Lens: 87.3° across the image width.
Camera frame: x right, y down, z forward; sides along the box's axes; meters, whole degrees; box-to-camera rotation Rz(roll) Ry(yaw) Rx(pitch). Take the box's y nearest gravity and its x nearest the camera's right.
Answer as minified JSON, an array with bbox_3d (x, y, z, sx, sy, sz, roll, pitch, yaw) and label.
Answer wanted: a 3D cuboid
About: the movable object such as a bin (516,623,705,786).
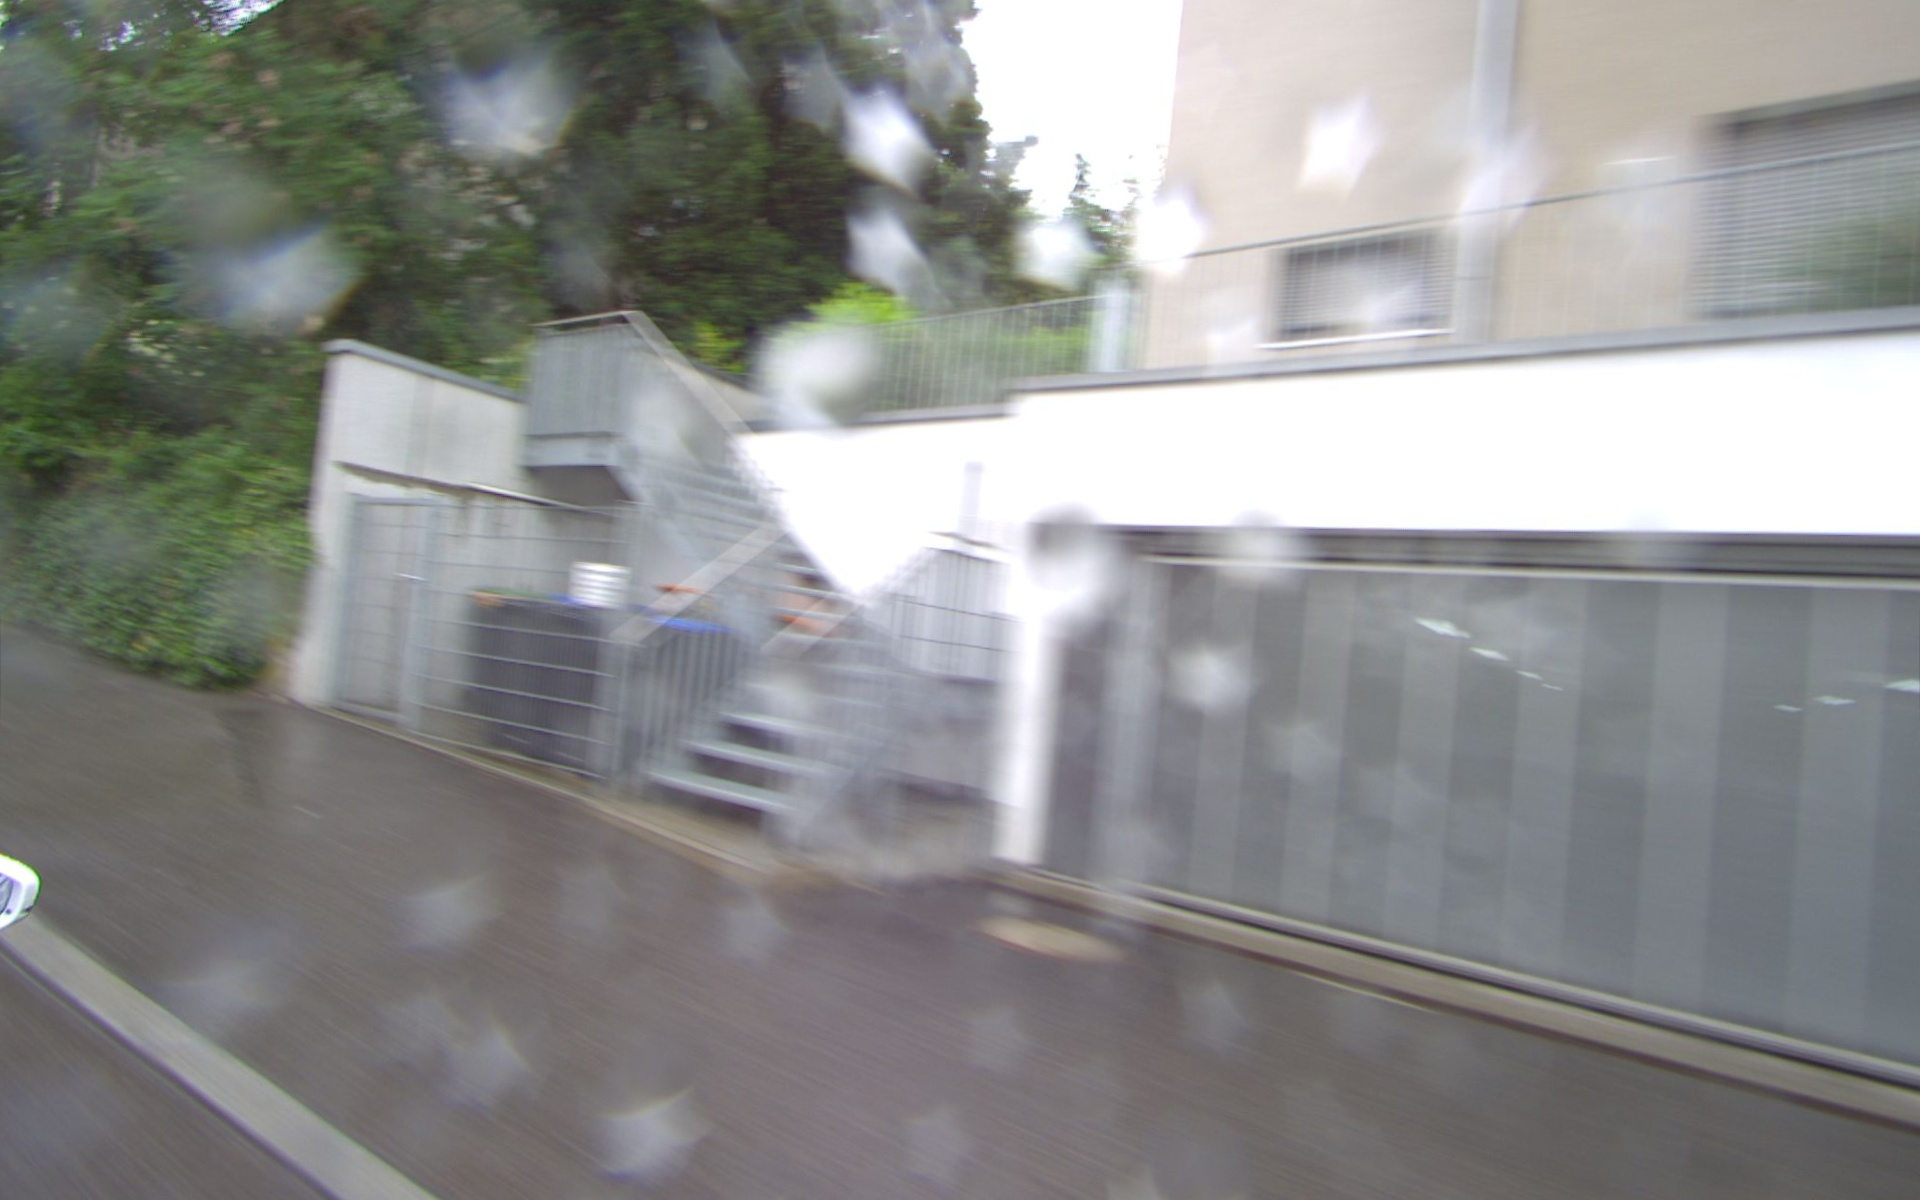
[{"bbox_3d":[-2.395,0.705,6.946,0.733,0.952,0.876,7,-1,30],"label":"movable object such as a bin"}]
